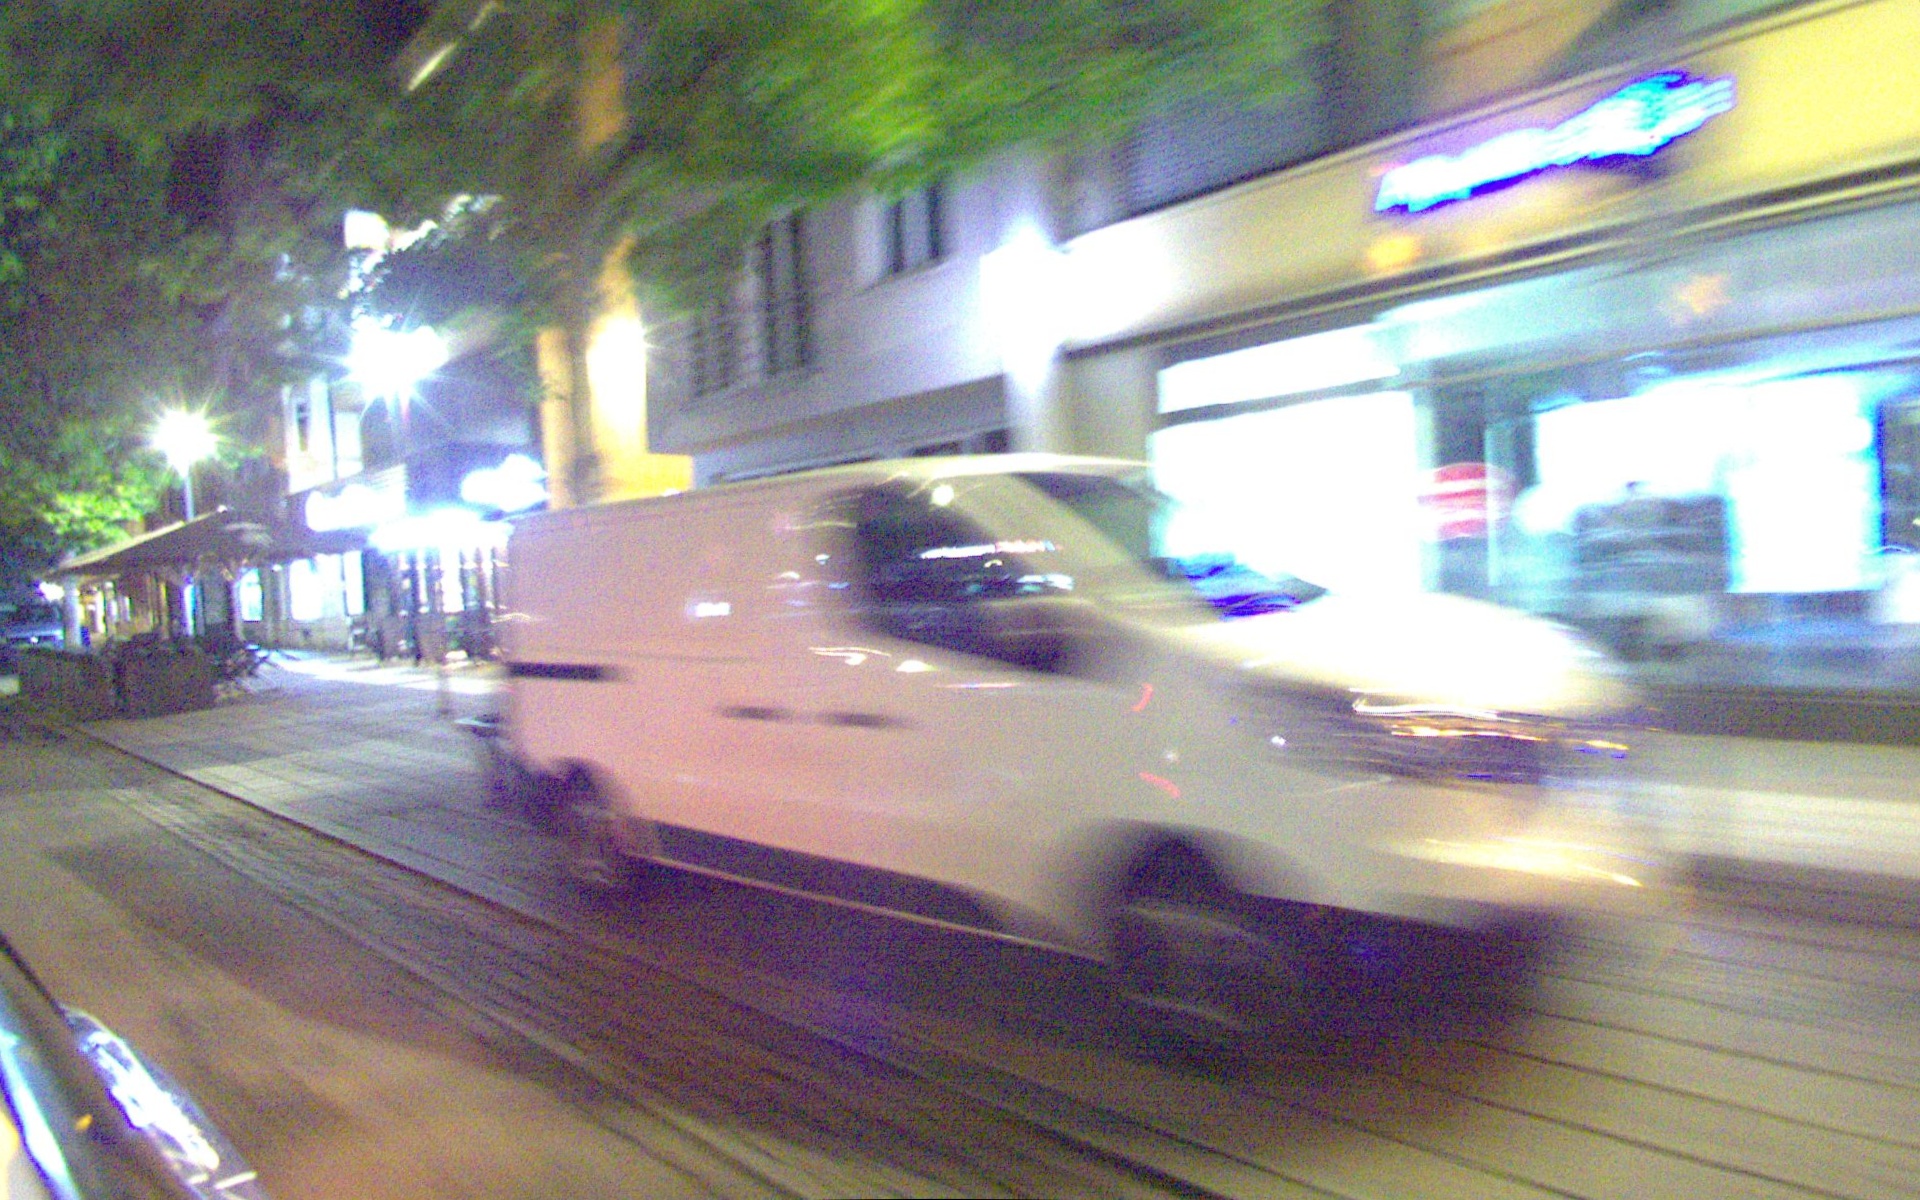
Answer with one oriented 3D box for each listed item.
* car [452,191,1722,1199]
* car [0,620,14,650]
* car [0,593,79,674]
[{"bbox_3d":[0.042,0.234,4.326,5.083,2.102,1.836,-2,3,38],"label":"car"},{"bbox_3d":[-52.577,1.942,54.686,4.000,1.516,1.772,-2,2,43],"label":"car"},{"bbox_3d":[-25.914,0.914,27.811,5.076,1.979,1.905,-2,3,42],"label":"car"}]
